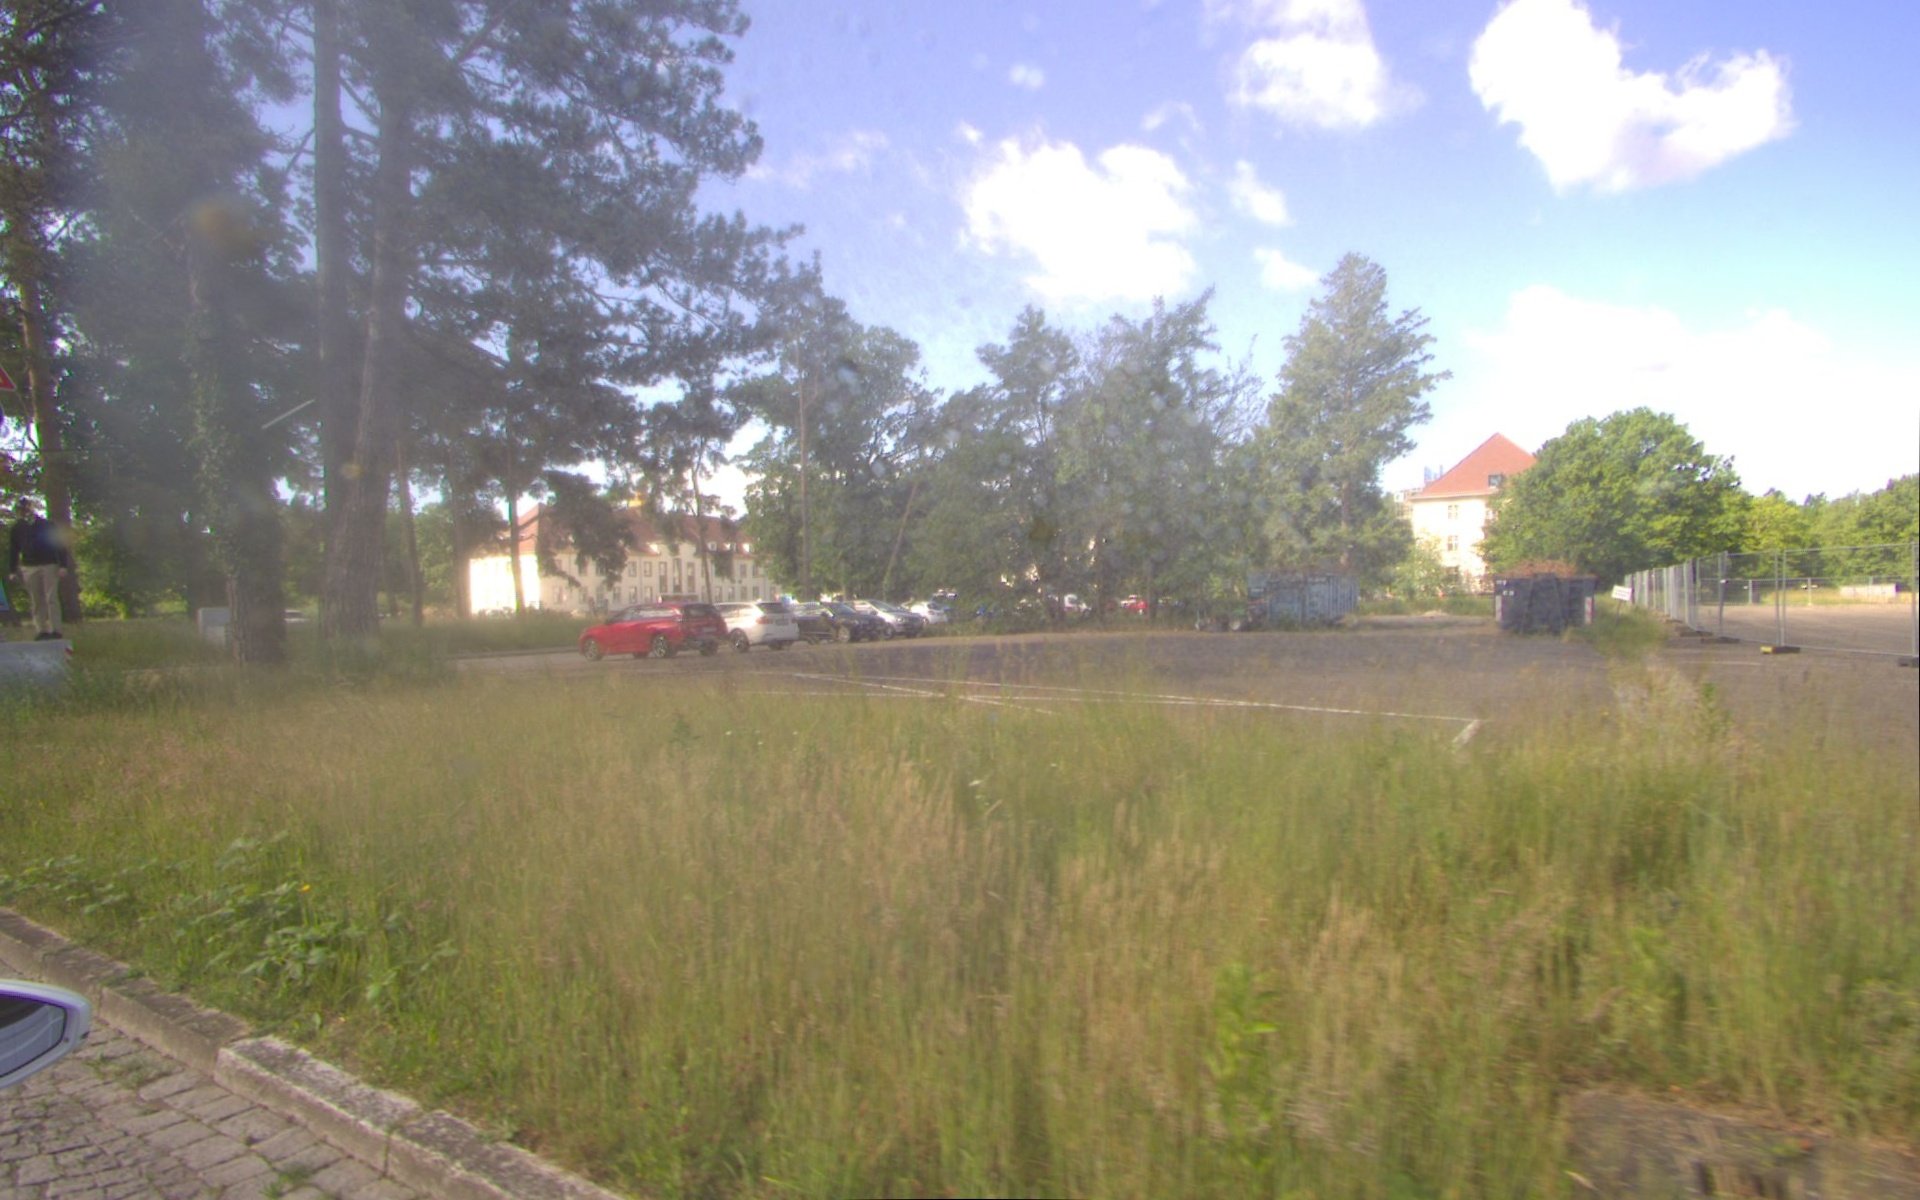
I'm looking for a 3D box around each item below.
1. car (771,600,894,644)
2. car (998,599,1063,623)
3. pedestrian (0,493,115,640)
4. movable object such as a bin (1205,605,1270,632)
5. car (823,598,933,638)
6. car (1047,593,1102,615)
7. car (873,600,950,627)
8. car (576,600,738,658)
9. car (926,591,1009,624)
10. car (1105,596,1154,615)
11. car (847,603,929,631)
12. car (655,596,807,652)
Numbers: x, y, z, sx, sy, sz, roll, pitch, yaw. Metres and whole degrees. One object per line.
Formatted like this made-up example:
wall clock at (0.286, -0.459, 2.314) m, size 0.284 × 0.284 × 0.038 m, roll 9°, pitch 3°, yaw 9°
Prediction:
car at (-4.284, 0.730, 33.518) m, size 3.988 × 1.332 × 1.612 m, roll -1°, pitch 1°, yaw 33°
car at (4.817, 0.778, 68.548) m, size 4.181 × 1.568 × 1.720 m, roll -1°, pitch -1°, yaw 33°
pedestrian at (-11.922, -0.422, 13.017) m, size 1.154 × 1.820 × 1.057 m, roll -2°, pitch 2°, yaw -28°
movable object such as a bin at (8.326, 0.562, 30.054) m, size 1.697 × 0.762 × 1.143 m, roll -1°, pitch 0°, yaw 26°
car at (-2.980, 0.660, 36.124) m, size 3.740 × 1.390 × 1.719 m, roll -1°, pitch -1°, yaw 34°
car at (8.435, 0.342, 73.830) m, size 3.640 × 1.568 × 1.704 m, roll -1°, pitch -1°, yaw 33°
car at (-2.756, 0.780, 56.650) m, size 4.181 × 1.487 × 1.720 m, roll -1°, pitch -1°, yaw 33°
car at (-8.034, 0.782, 26.449) m, size 4.266 × 1.417 × 1.744 m, roll -2°, pitch -1°, yaw 33°
car at (0.434, 0.481, 60.829) m, size 4.677 × 1.973 × 1.981 m, roll -1°, pitch -1°, yaw 33°
car at (14.222, 0.466, 84.069) m, size 3.682 × 1.568 × 1.704 m, roll -1°, pitch -1°, yaw 33°
car at (-3.888, 0.936, 53.806) m, size 4.181 × 1.443 × 1.720 m, roll -1°, pitch -1°, yaw 33°
car at (-6.623, 0.708, 28.904) m, size 4.180 × 1.396 × 1.775 m, roll -3°, pitch -1°, yaw 31°
